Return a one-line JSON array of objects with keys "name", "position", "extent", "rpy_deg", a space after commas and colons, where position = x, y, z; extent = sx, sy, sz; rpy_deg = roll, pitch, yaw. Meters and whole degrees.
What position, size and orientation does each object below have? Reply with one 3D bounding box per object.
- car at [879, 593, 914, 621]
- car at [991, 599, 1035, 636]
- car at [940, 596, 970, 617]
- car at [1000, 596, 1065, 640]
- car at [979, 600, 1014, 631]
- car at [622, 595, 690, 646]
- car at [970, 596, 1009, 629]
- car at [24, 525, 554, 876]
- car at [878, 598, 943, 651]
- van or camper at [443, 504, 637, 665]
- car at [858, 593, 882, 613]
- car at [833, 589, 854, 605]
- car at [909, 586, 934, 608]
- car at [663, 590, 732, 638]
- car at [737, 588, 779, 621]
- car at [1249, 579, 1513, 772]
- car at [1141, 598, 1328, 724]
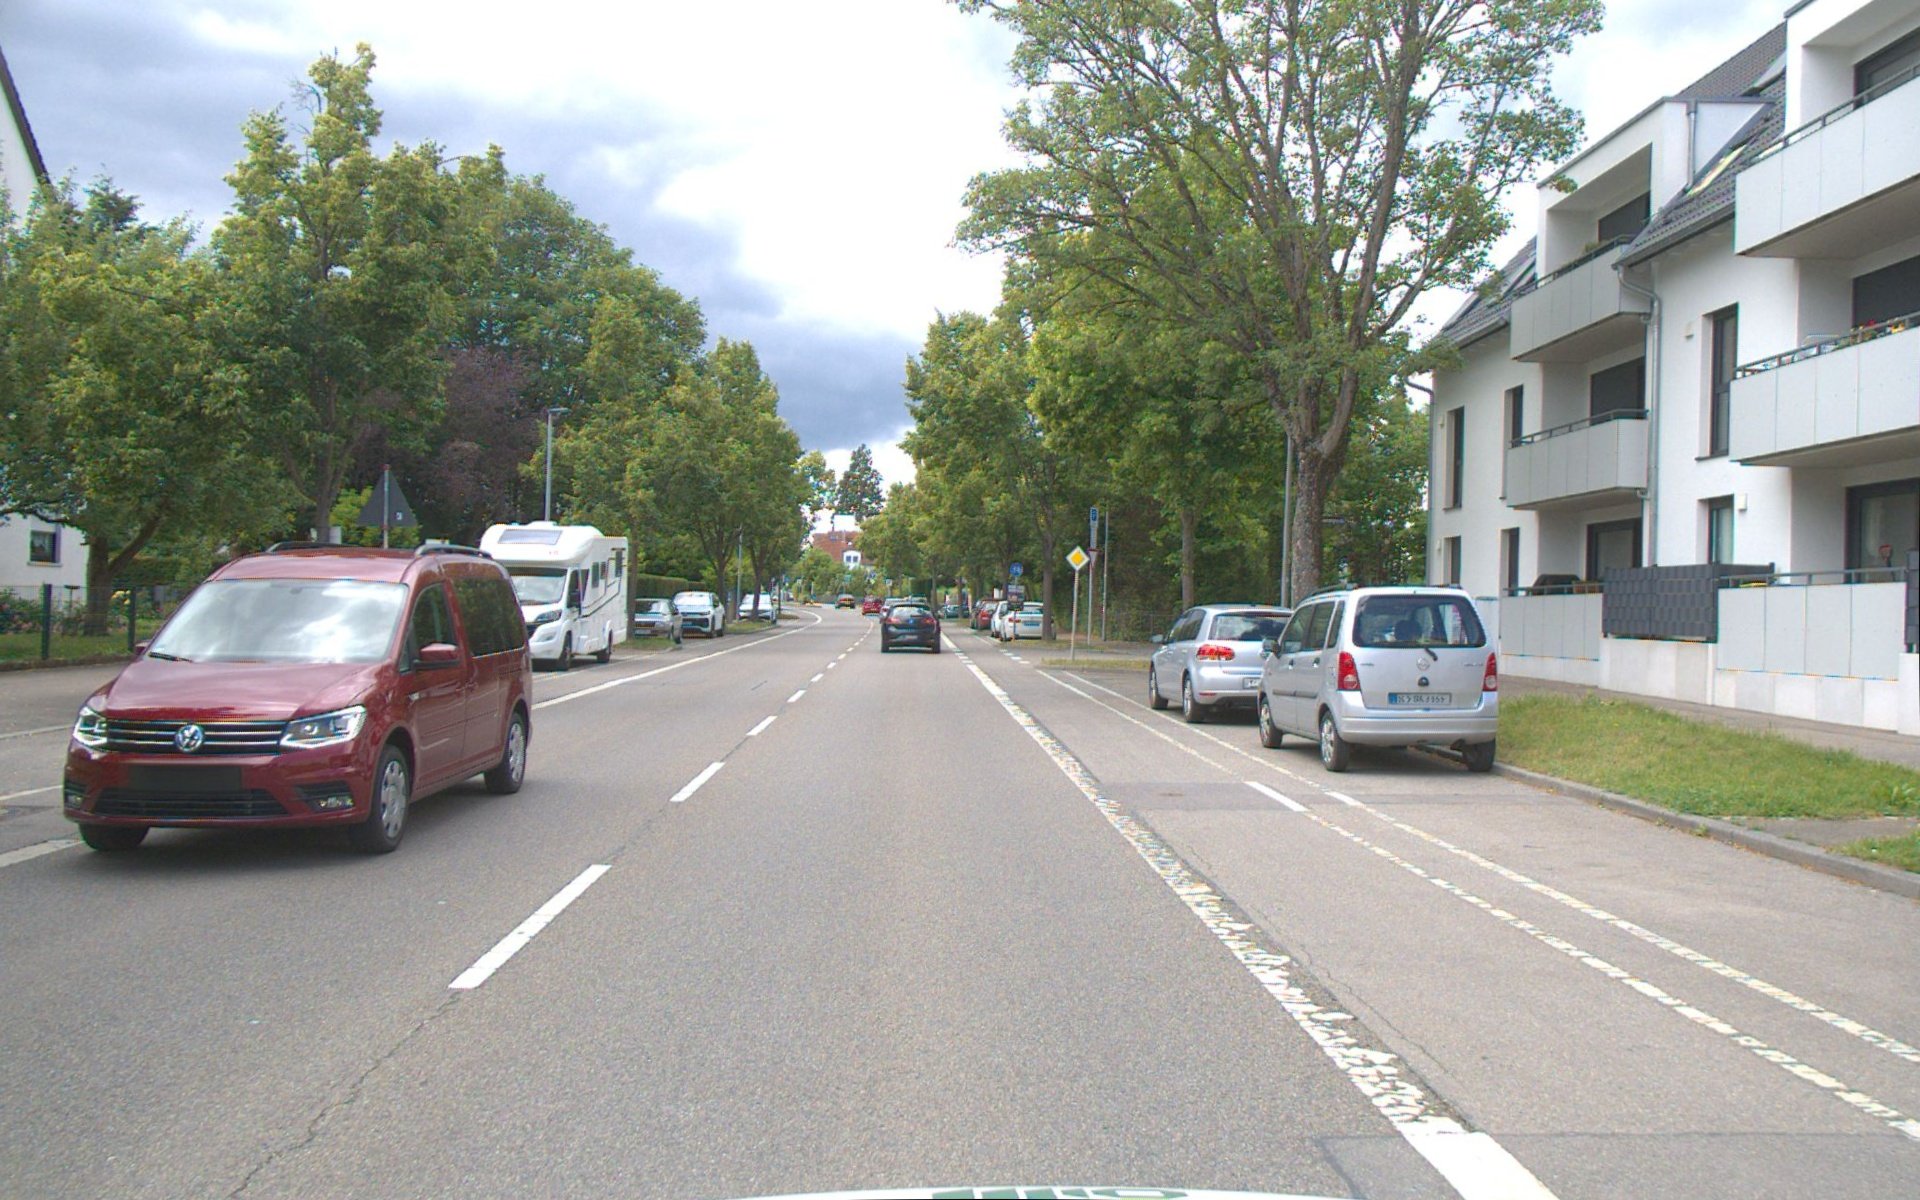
[{"name": "car", "position": [-3.749, 0.382, 97.070], "extent": [1.954, 1.585, 3.998], "rpy_deg": [1, 0, -3]}, {"name": "car", "position": [2.171, 0.711, 68.388], "extent": [1.583, 1.485, 3.655], "rpy_deg": [0, 0, -2]}, {"name": "car", "position": [-0.361, 0.441, 115.212], "extent": [1.651, 1.457, 4.038], "rpy_deg": [1, 0, -7]}, {"name": "car", "position": [2.573, 0.630, 59.956], "extent": [1.980, 1.469, 5.023], "rpy_deg": [1, 0, -1]}, {"name": "car", "position": [1.740, 0.730, 80.271], "extent": [1.604, 1.445, 4.000], "rpy_deg": [0, 0, 0]}, {"name": "car", "position": [-9.456, 0.617, 51.665], "extent": [1.524, 1.496, 4.449], "rpy_deg": [1, 0, -3]}, {"name": "car", "position": [1.521, 0.620, 85.743], "extent": [1.606, 1.644, 4.166], "rpy_deg": [1, 0, -4]}, {"name": "car", "position": [-4.114, 0.532, 11.094], "extent": [1.725, 1.835, 4.767], "rpy_deg": [1, 0, -2]}, {"name": "car", "position": [-1.475, 0.697, 48.129], "extent": [1.748, 1.474, 3.555], "rpy_deg": [1, 0, -4]}, {"name": "van or camper", "position": [-8.833, -0.299, 35.673], "extent": [2.386, 3.062, 7.690], "rpy_deg": [1, 0, -2]}, {"name": "car", "position": [-7.262, 0.213, 133.248], "extent": [1.954, 1.557, 3.997], "rpy_deg": [1, 0, -4]}, {"name": "car", "position": [-11.779, -0.313, 167.225], "extent": [1.955, 1.534, 3.994], "rpy_deg": [2, -1, -7]}, {"name": "car", "position": [-3.366, -0.236, 142.662], "extent": [1.754, 1.803, 3.976], "rpy_deg": [1, 0, -7]}, {"name": "car", "position": [-9.717, 0.505, 61.474], "extent": [1.780, 1.681, 4.698], "rpy_deg": [1, 0, 0]}, {"name": "car", "position": [-10.782, 0.230, 88.594], "extent": [1.836, 1.718, 4.863], "rpy_deg": [0, 0, -2]}, {"name": "car", "position": [4.060, 0.668, 16.492], "extent": [1.599, 1.694, 3.646], "rpy_deg": [1, 0, -2]}, {"name": "car", "position": [3.564, 0.748, 22.187], "extent": [1.653, 1.519, 4.225], "rpy_deg": [0, 0, -2]}]
